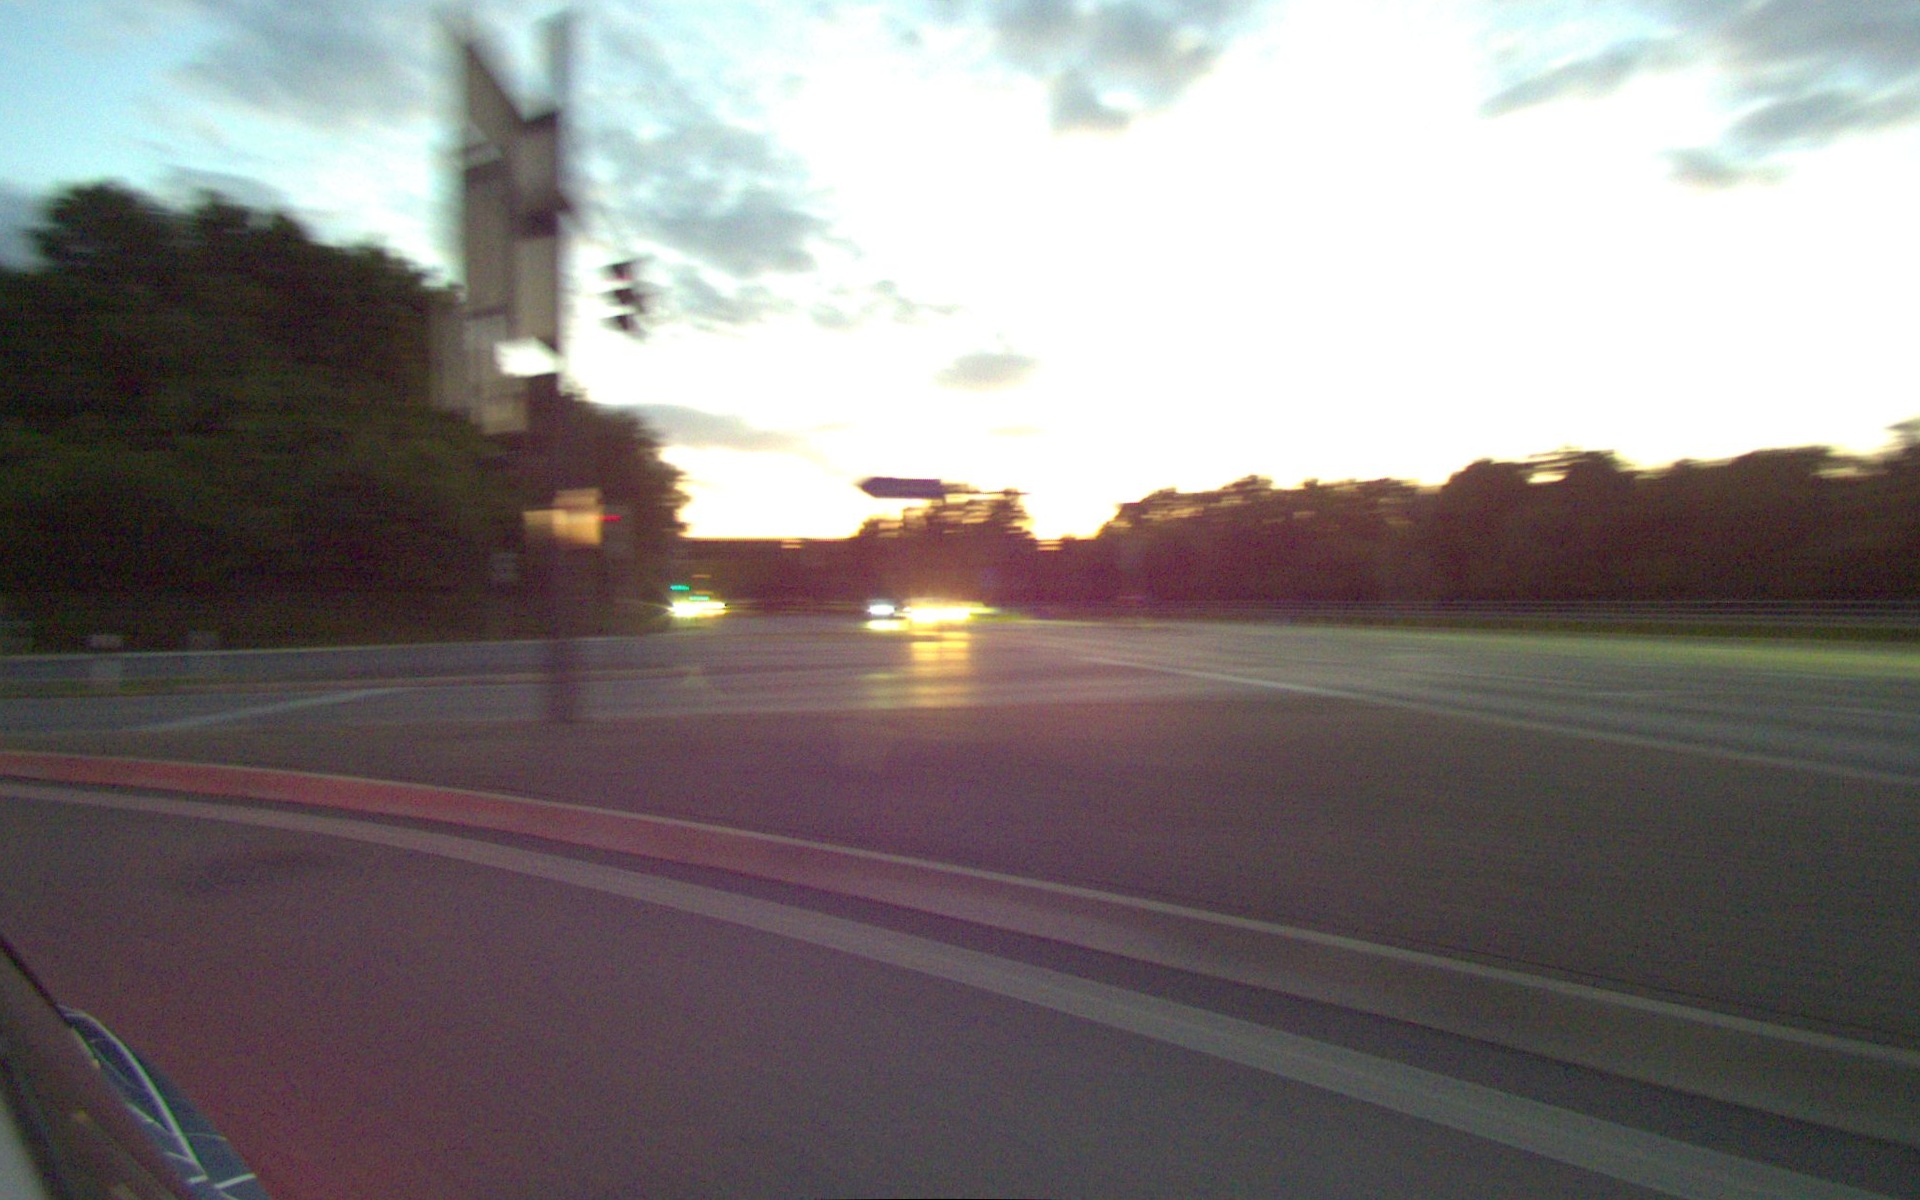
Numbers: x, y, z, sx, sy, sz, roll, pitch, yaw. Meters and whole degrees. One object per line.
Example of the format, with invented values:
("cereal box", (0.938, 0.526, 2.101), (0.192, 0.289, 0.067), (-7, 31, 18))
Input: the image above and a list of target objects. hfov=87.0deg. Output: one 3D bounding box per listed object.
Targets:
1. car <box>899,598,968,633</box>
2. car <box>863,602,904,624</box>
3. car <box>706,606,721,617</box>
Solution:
("car", (-1.235, 0.671, 44.984), (1.965, 1.464, 4.013), (1, -1, -19))
("car", (-5.474, 0.870, 71.510), (1.966, 1.464, 4.748), (-1, 0, -16))
("car", (-37.364, 1.742, 153.695), (2.026, 1.608, 4.009), (-1, 0, -11))
